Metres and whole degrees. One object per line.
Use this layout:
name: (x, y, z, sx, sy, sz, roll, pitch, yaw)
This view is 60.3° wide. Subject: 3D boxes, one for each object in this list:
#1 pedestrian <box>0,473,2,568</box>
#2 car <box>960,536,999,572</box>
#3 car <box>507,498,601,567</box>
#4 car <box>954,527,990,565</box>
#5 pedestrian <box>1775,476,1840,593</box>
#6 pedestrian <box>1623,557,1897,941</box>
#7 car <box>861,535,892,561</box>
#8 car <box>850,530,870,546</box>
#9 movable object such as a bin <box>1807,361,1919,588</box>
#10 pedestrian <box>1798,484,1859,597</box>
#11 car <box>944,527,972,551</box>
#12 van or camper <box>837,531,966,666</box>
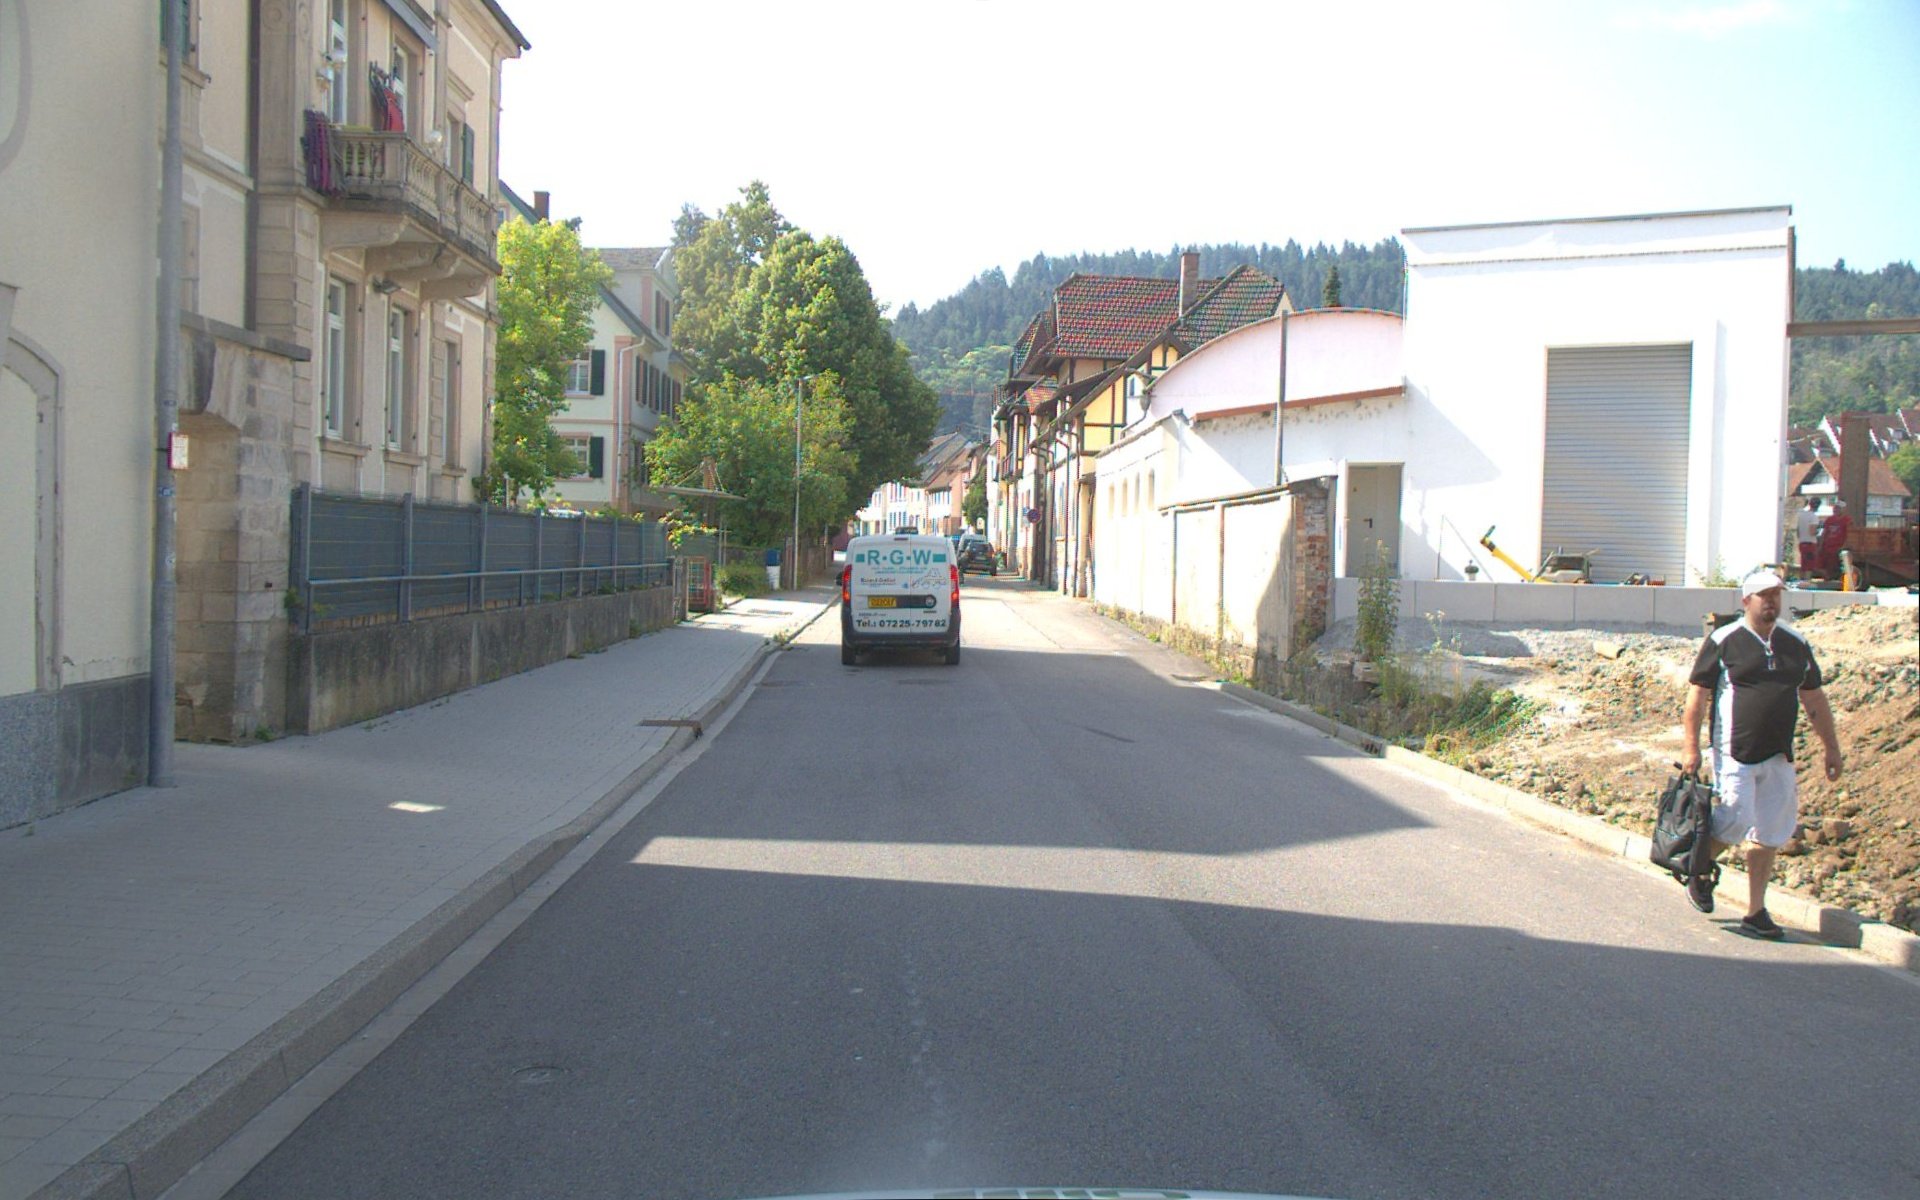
pedestrian: (-3.918, 0.368, 5.546, 0.939, 1.659, 0.758, 2, 1, -3)
car: (0.980, -2.364, 84.244, 1.774, 1.624, 3.927, 3, 2, -2)
car: (-11.926, -1.987, 48.856, 1.787, 1.802, 4.680, 5, 2, -4)
car: (0.670, -3.099, 94.412, 1.834, 2.048, 3.999, 2, 2, -2)
pedestrian: (14.431, -1.117, 28.163, 0.597, 1.929, 0.632, 2, 2, -23)
pedestrian: (3.790, 0.675, 7.898, 0.870, 1.712, 0.718, 3, 1, -2)
car: (-9.614, -6.012, 190.544, 2.822, 2.884, 6.111, 0, 2, -10)
car: (-12.312, -7.625, 203.437, 1.741, 1.830, 3.988, 1, 2, -13)
movable object such as a bin: (17.010, -2.064, 29.314, 2.800, 3.683, 5.720, 5, 3, 33)
pedestrian: (15.195, -1.047, 28.941, 0.601, 1.929, 0.628, 2, 3, -35)
car: (-0.134, -4.105, 110.850, 1.636, 1.534, 3.998, 0, 2, -4)
van or camper: (-0.915, -0.105, 25.283, 1.791, 1.876, 4.187, -1, 2, -3)
